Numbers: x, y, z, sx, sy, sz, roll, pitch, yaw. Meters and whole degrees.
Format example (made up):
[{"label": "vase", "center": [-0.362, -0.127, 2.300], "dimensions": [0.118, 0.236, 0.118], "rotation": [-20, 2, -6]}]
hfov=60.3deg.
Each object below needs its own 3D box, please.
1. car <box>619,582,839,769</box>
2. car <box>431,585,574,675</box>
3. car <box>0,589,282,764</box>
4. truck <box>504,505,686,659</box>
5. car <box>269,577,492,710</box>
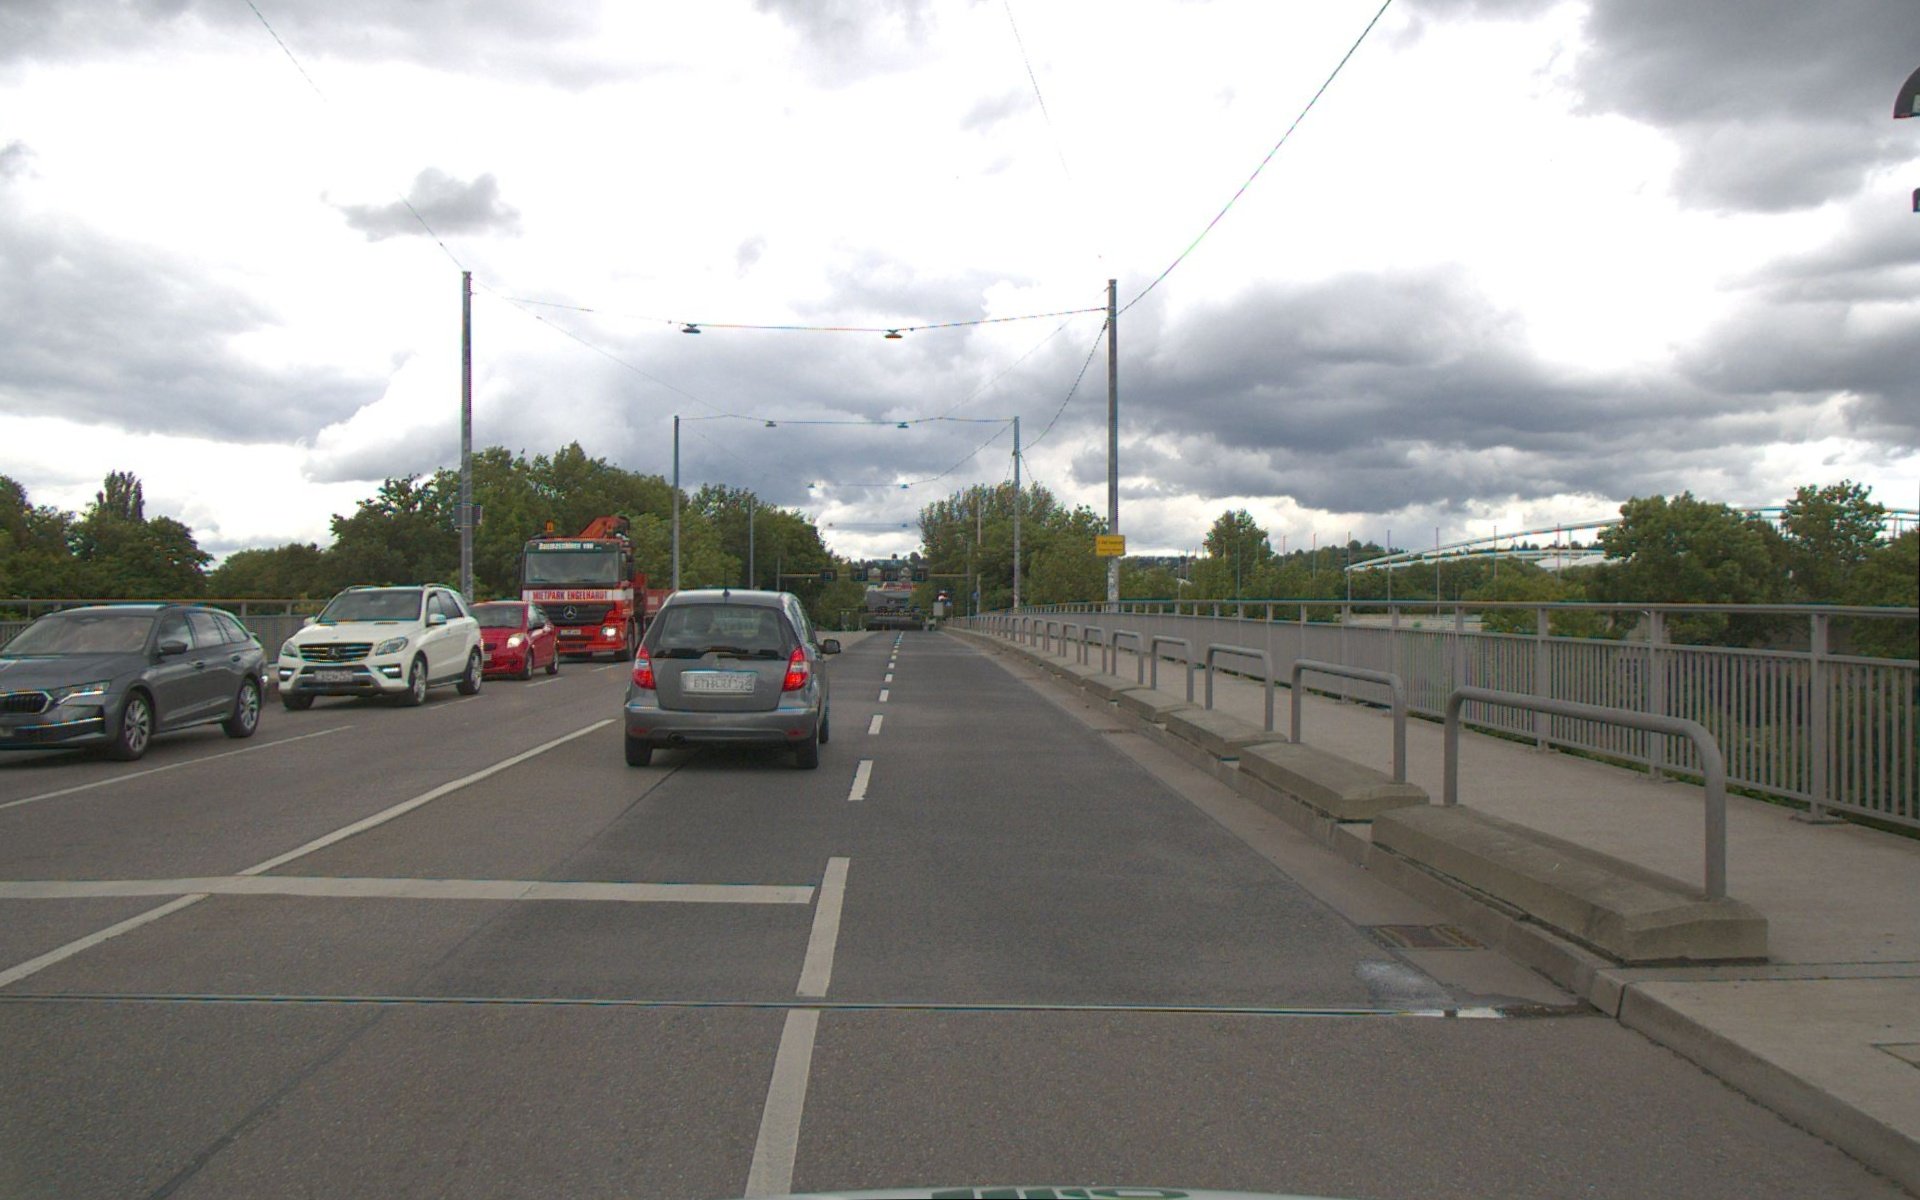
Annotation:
[{"label": "car", "center": [-2.111, 0.644, 16.065], "dimensions": [1.710, 1.577, 3.869], "rotation": [1, 0, -2]}, {"label": "car", "center": [-9.018, 0.559, 32.923], "dimensions": [1.842, 1.631, 4.013], "rotation": [-1, 0, -2]}, {"label": "car", "center": [-8.702, 0.686, 16.891], "dimensions": [1.798, 1.530, 4.515], "rotation": [-1, 0, -2]}, {"label": "truck", "center": [-9.520, -0.437, 44.417], "dimensions": [2.945, 3.628, 9.978], "rotation": [-1, 0, -2]}, {"label": "car", "center": [-8.680, 0.599, 25.252], "dimensions": [1.842, 1.792, 4.800], "rotation": [-1, 0, -2]}]
